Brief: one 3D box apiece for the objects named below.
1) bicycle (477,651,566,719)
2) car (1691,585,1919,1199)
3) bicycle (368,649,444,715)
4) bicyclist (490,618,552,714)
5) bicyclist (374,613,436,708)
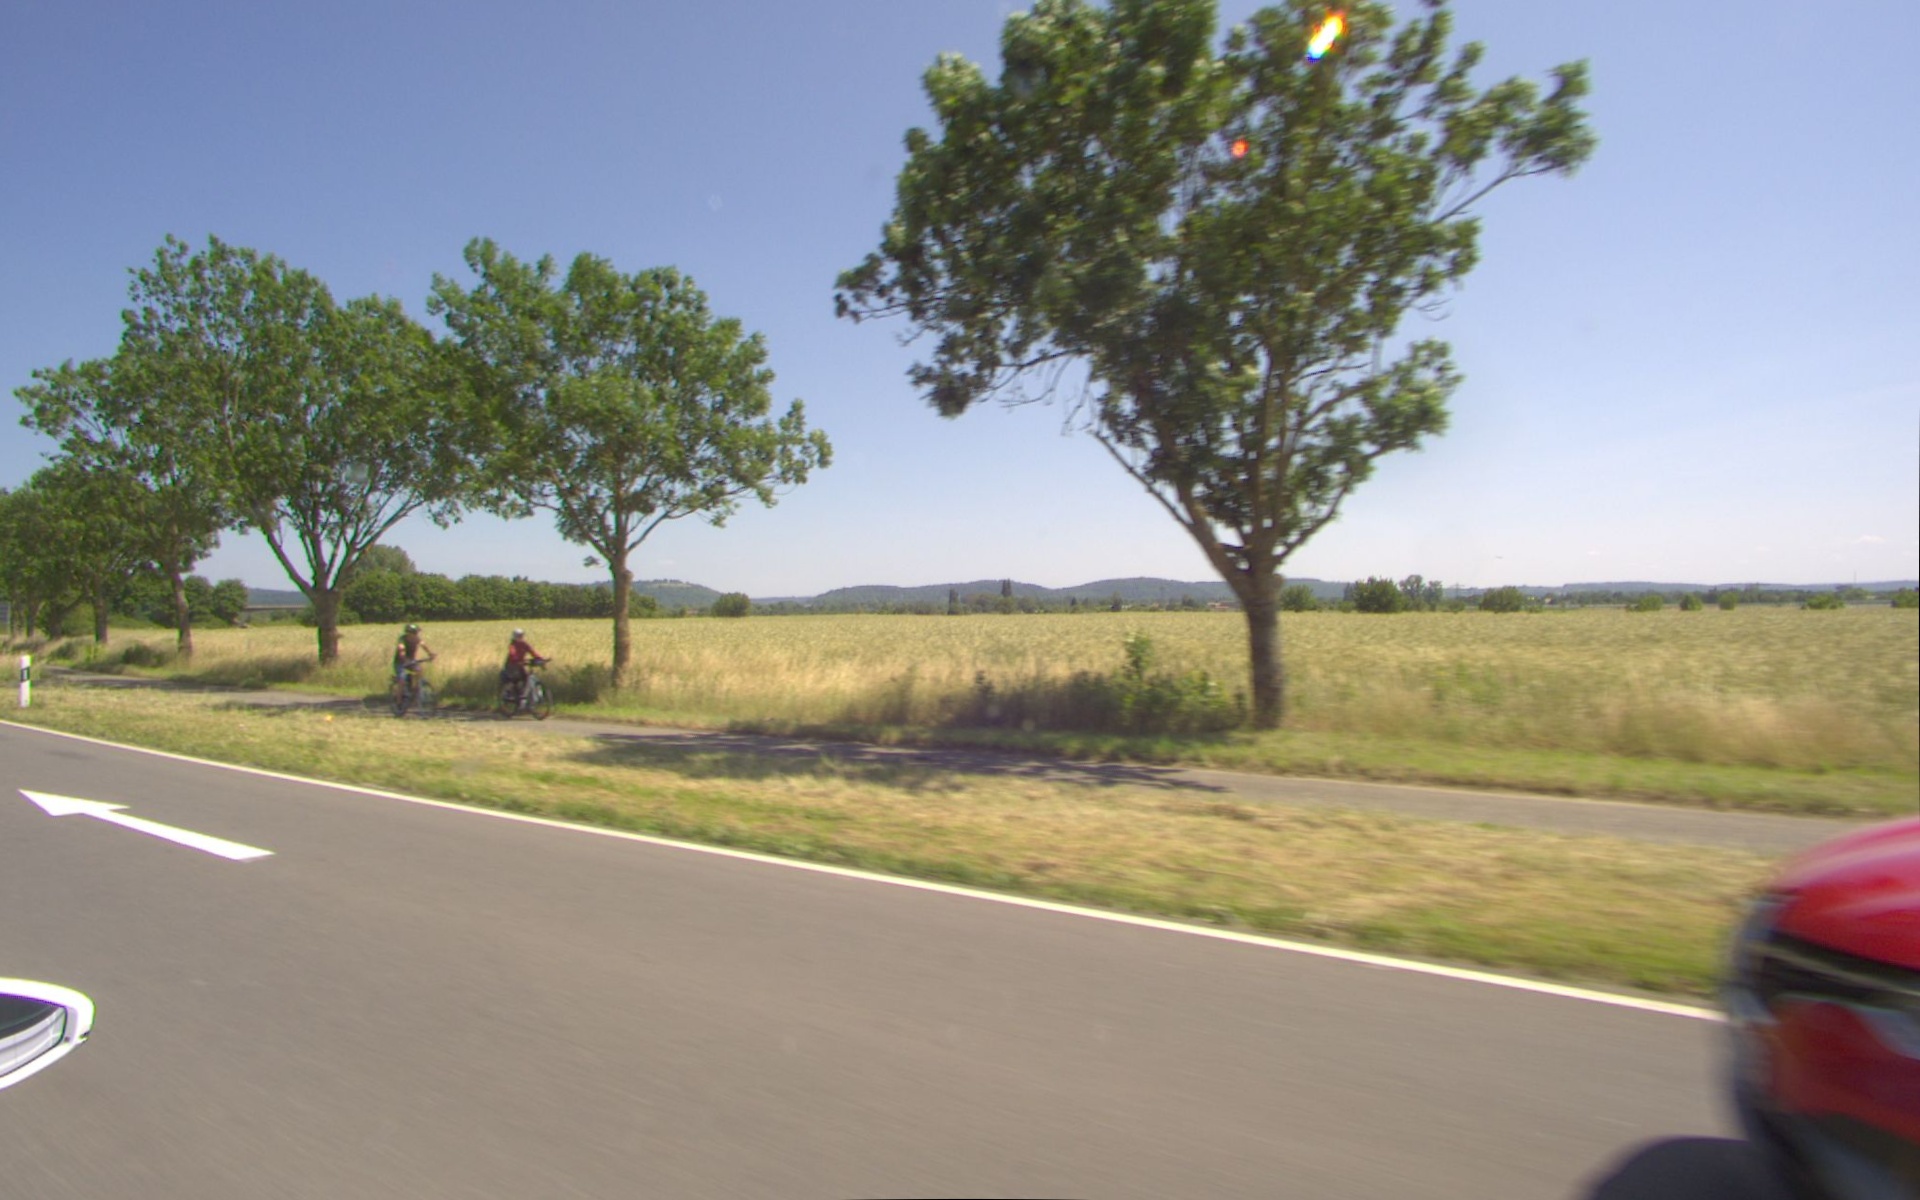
[{"bbox_3d":[-8.571,1.637,19.525,2.026,1.225,0.696,-1,-3,38],"label":"bicycle"},{"bbox_3d":[3.795,0.761,1.303,4.382,1.572,1.820,-1,-2,30],"label":"car"},{"bbox_3d":[-10.602,1.546,19.132,2.029,1.191,0.603,-2,-4,43],"label":"bicycle"},{"bbox_3d":[-8.554,1.282,19.526,0.966,1.804,0.626,0,-4,39],"label":"bicyclist"},{"bbox_3d":[-10.640,1.150,19.200,1.159,1.755,0.585,0,-4,43],"label":"bicyclist"}]
